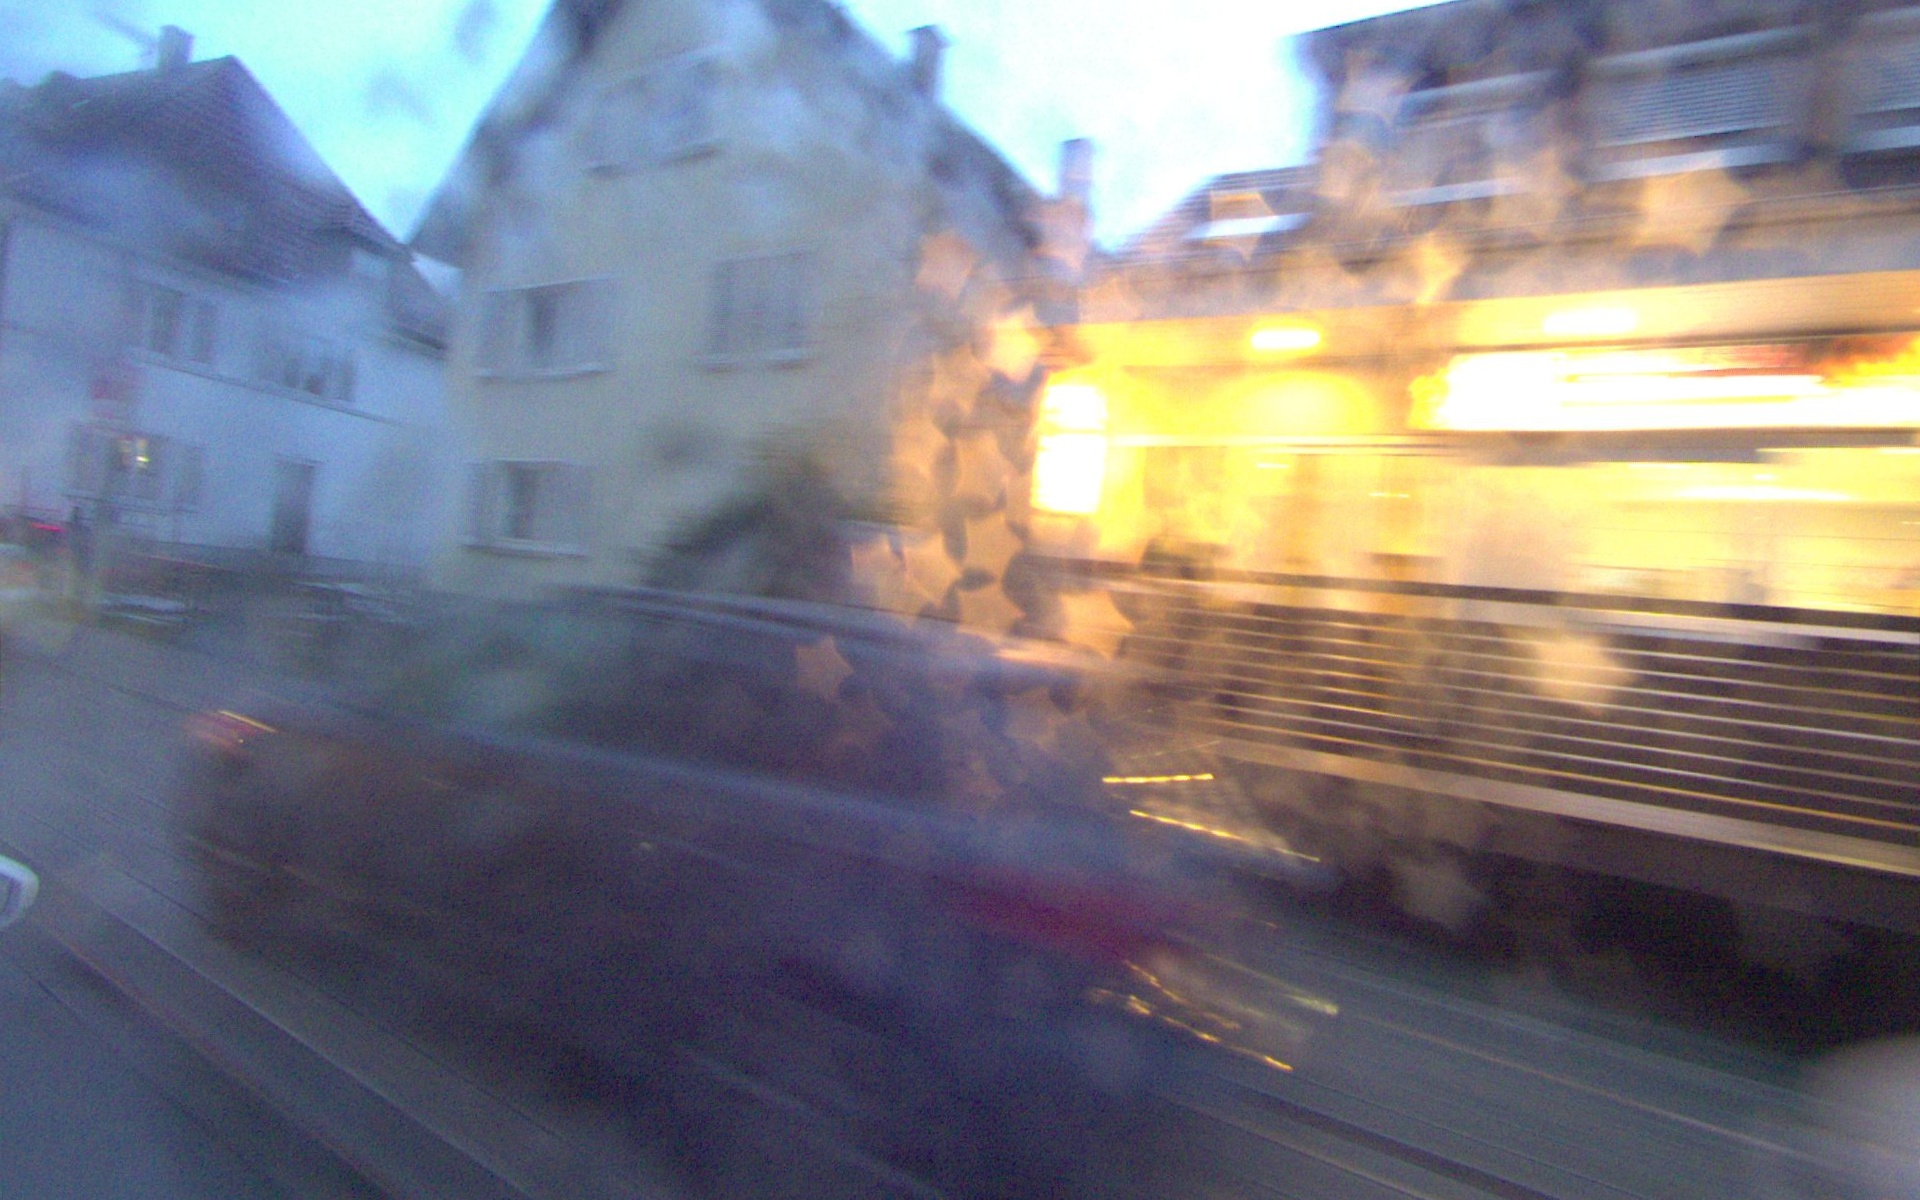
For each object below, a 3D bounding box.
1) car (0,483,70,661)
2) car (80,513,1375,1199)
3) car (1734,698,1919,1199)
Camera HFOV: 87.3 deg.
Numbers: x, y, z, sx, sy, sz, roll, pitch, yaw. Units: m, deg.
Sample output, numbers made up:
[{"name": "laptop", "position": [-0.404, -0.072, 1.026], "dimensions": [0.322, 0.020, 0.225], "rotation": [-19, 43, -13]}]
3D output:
[{"name": "car", "position": [-10.163, -0.474, 9.014], "dimensions": [4.452, 1.479, 1.796], "rotation": [7, 1, 28]}, {"name": "car", "position": [-1.093, 0.625, 3.692], "dimensions": [4.530, 1.442, 1.824], "rotation": [7, 2, 30]}, {"name": "car", "position": [3.175, 1.128, 0.867], "dimensions": [3.738, 1.460, 1.626], "rotation": [7, 2, 33]}]
